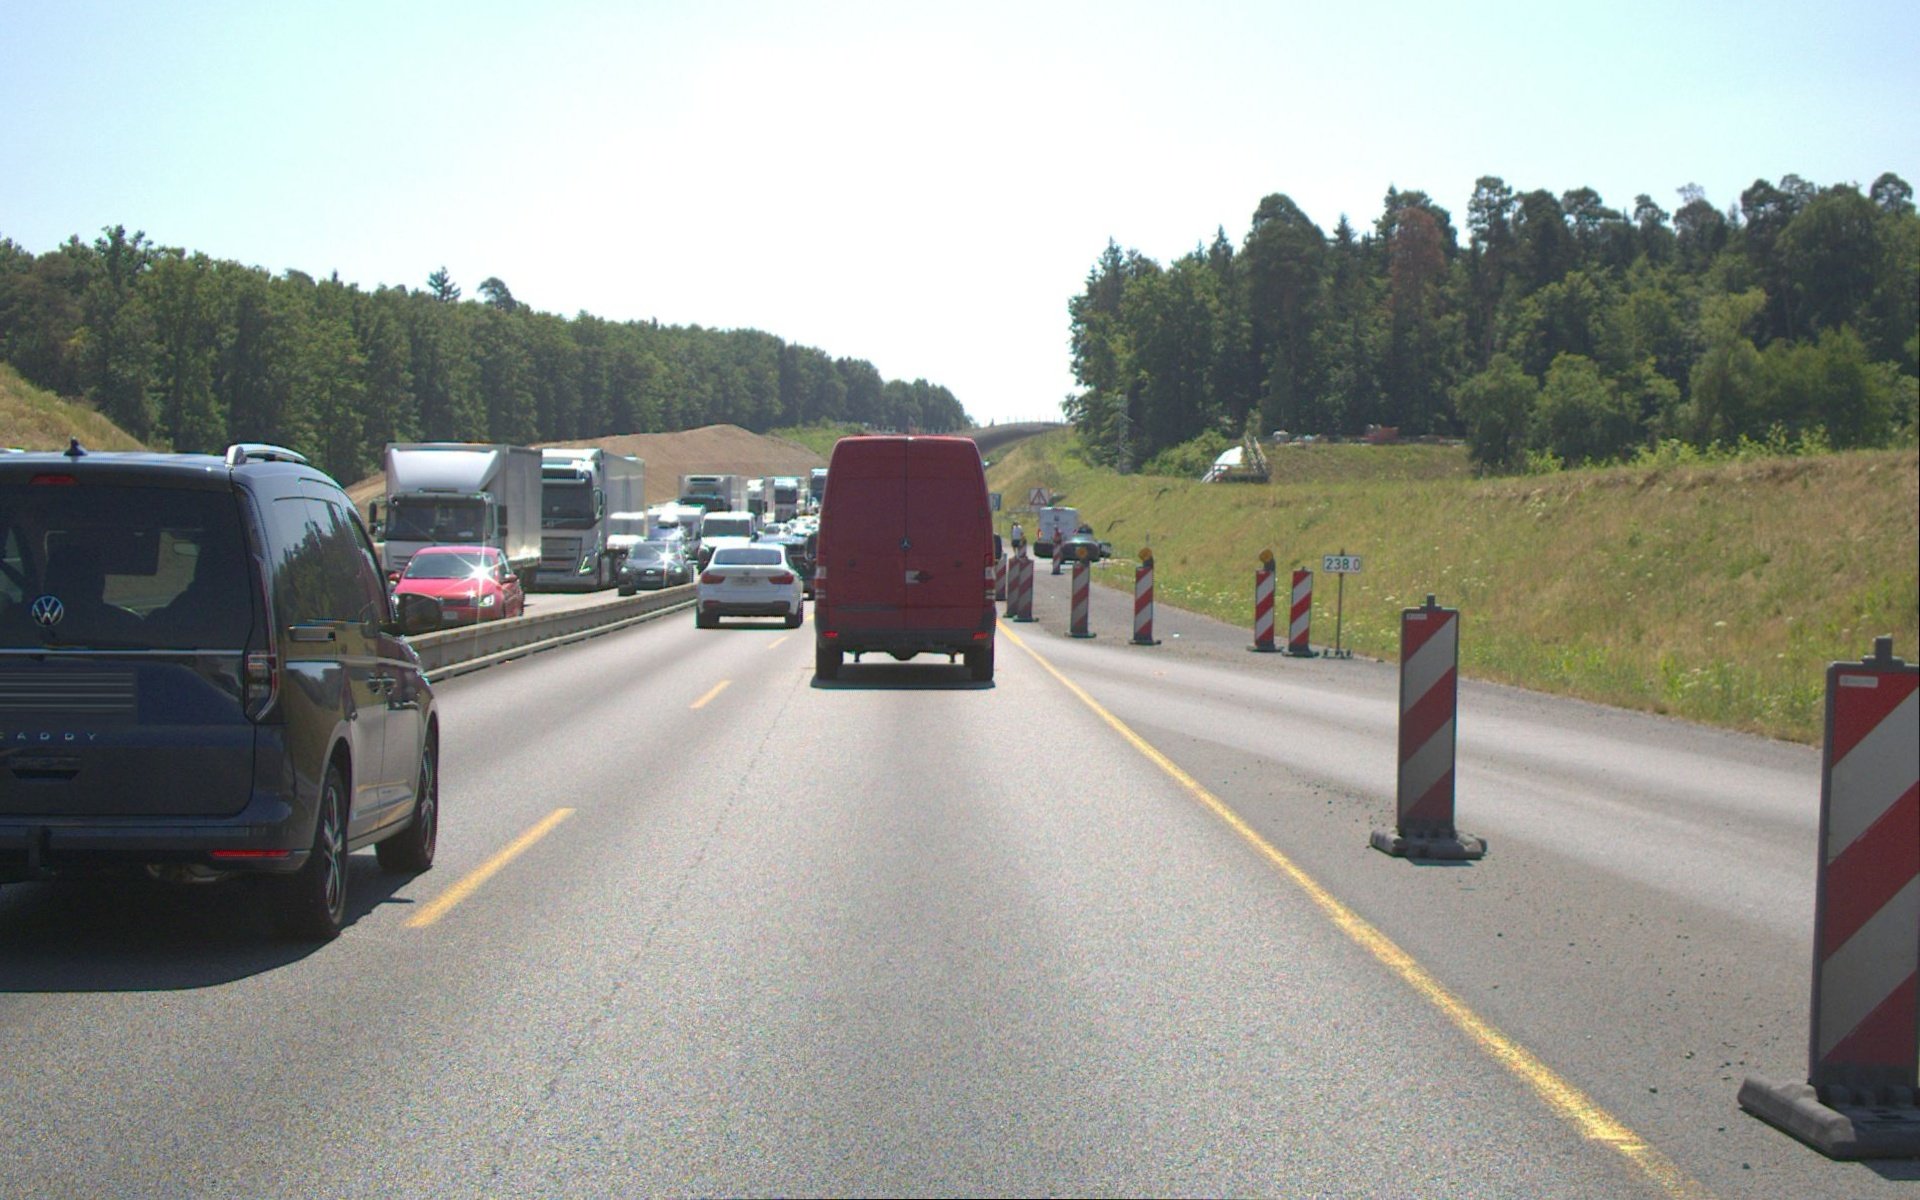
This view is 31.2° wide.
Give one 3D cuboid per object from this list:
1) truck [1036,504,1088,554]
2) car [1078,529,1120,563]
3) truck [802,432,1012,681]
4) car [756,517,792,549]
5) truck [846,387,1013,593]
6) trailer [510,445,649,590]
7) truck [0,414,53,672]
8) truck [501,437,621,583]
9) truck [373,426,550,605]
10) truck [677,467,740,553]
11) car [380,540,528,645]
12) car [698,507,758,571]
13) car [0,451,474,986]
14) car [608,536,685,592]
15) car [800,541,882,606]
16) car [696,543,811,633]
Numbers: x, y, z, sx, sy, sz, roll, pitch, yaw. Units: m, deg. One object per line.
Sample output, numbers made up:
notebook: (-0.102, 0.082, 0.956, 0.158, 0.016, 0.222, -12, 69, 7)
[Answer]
truck: (5.240, -3.629, 175.503, 2.130, 2.448, 5.924, 1, 2, 6)
car: (6.359, -2.473, 157.412, 1.654, 1.422, 4.545, -2, 2, 0)
truck: (-0.622, -0.487, 38.684, 2.153, 2.581, 5.334, 1, 1, -1)
car: (-9.587, -3.440, 177.602, 1.688, 1.608, 4.594, 1, 1, -1)
truck: (-0.933, -3.068, 101.019, 4.400, 5.477, 16.604, 1, 1, -1)
trailer: (-11.397, -2.417, 104.222, 2.854, 4.079, 13.653, -1, 1, -1)
truck: (-10.518, -0.546, 32.969, 2.098, 2.560, 6.356, 2, 2, -2)
truck: (-11.216, -2.505, 97.040, 2.848, 4.004, 4.859, -1, 1, -1)
truck: (-10.994, -1.829, 76.679, 2.644, 3.703, 9.483, 1, 1, -1)
truck: (-12.451, -4.459, 170.807, 2.491, 4.184, 5.912, -1, 1, 1)
car: (-7.463, -0.129, 50.984, 1.627, 1.479, 4.054, 1, 1, -1)
car: (-8.601, -2.302, 127.902, 1.993, 2.284, 5.344, 1, 2, -2)
car: (-3.201, 0.335, 14.168, 1.751, 1.818, 4.783, 1, 2, -1)
car: (-8.364, -0.957, 92.121, 1.857, 1.437, 4.502, 1, 1, -3)
car: (-2.995, -0.694, 87.281, 1.967, 1.536, 4.311, 1, 2, -1)
car: (-3.655, -0.232, 61.402, 1.831, 1.517, 3.961, 1, 1, -1)
